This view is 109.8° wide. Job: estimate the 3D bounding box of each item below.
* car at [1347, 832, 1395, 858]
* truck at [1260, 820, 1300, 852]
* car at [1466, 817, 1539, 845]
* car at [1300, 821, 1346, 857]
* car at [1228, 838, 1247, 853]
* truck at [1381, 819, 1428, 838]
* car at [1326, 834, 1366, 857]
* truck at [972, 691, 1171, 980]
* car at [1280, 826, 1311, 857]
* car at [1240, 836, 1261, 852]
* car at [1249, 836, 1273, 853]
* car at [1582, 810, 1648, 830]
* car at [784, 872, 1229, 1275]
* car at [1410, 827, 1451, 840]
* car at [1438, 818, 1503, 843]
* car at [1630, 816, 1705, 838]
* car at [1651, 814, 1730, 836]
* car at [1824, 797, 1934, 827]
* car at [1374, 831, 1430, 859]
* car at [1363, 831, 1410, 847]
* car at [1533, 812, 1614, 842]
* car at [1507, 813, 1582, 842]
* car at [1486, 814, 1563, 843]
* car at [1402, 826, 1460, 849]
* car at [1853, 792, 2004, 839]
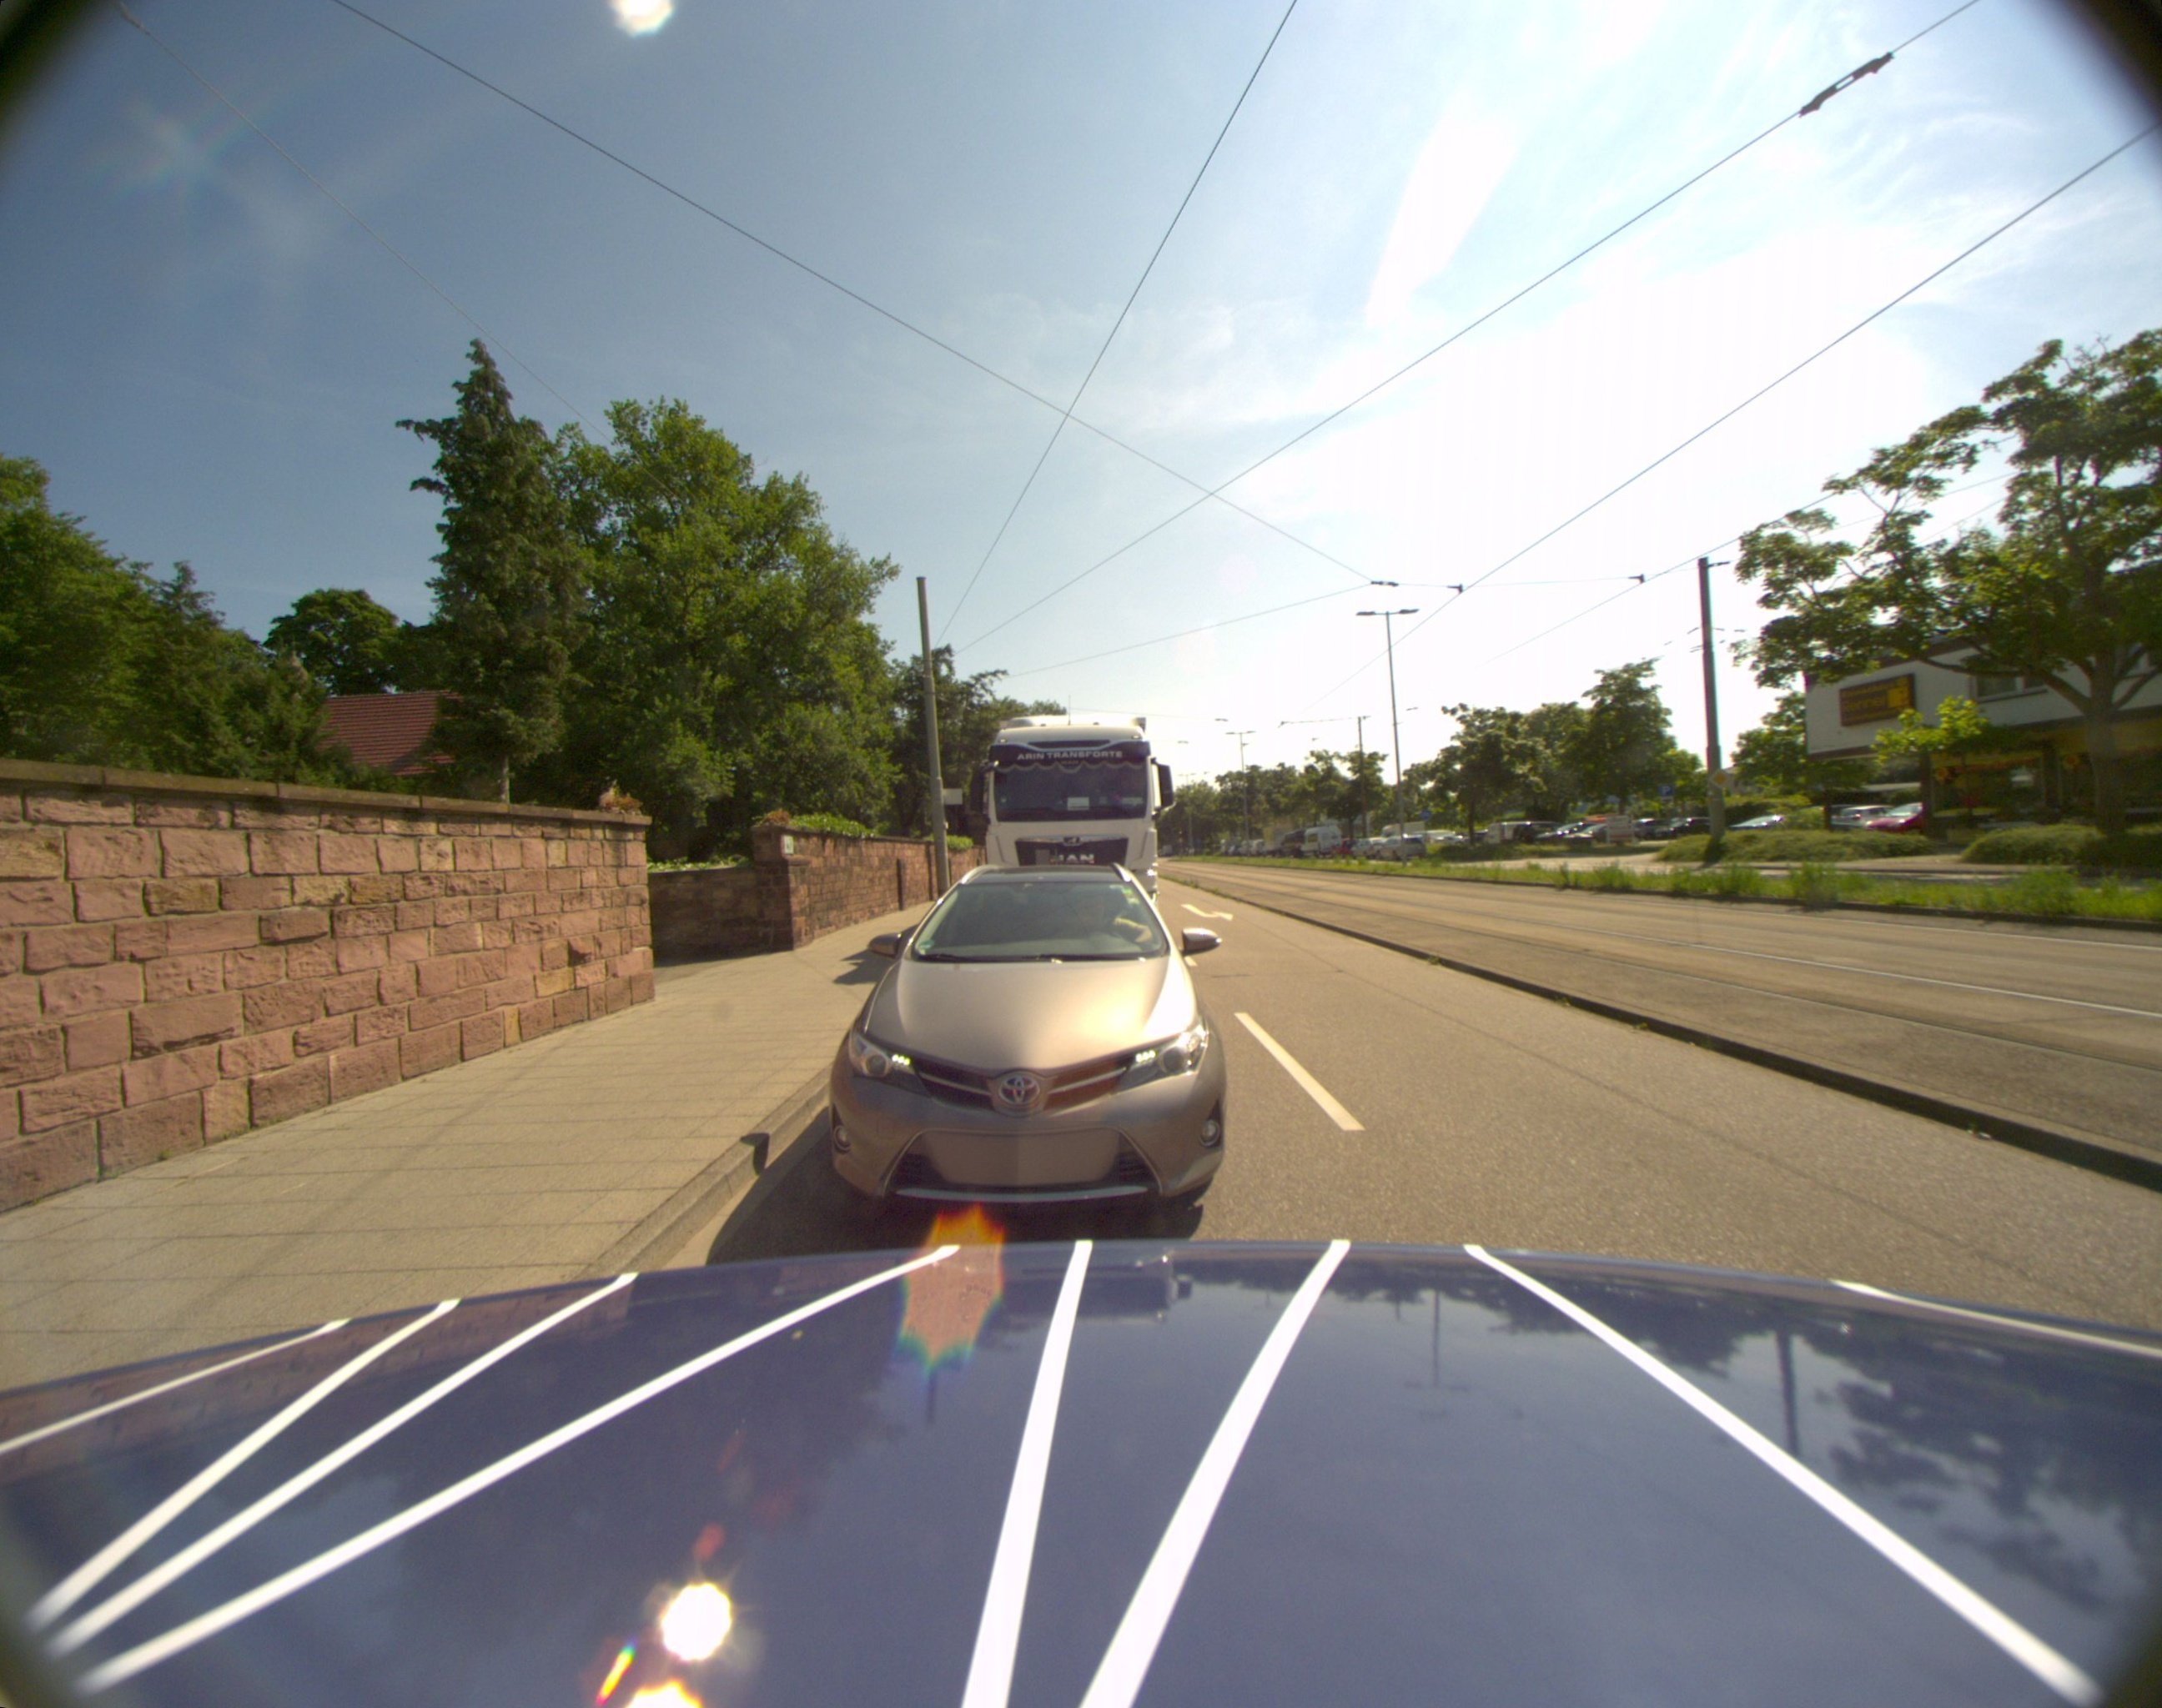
[{"bbox_3d":[20.442,-0.621,53.658,1.675,1.524,4.256,-6,0,1],"label":"car"},{"bbox_3d":[20.577,-1.791,78.805,2.508,2.917,5.903,-6,0,2],"label":"truck"},{"bbox_3d":[30.530,-1.678,55.140,4.117,1.728,1.990,-3,1,-2],"label":"car"},{"bbox_3d":[20.278,-1.218,63.990,2.062,2.638,5.203,-6,0,1],"label":"car"},{"bbox_3d":[20.616,-1.074,100.073,1.502,1.775,3.687,-6,0,0],"label":"car"},{"bbox_3d":[44.747,-3.521,105.152,5.652,2.367,1.990,-3,1,-2],"label":"truck"},{"bbox_3d":[20.473,-0.643,58.756,1.675,1.524,3.793,-6,0,1],"label":"car"},{"bbox_3d":[-0.039,-0.300,15.100,2.628,3.906,9.285,-2,1,1],"label":"truck"},{"bbox_3d":[19.865,-1.136,70.461,1.502,2.609,4.007,-6,0,1],"label":"car"},{"bbox_3d":[20.952,-1.214,94.219,1.502,1.835,4.059,-6,0,0],"label":"car"},{"bbox_3d":[20.690,-1.042,87.351,1.502,1.793,4.633,-6,0,1],"label":"car"},{"bbox_3d":[43.892,-2.800,62.515,4.254,1.327,1.676,-3,0,-1],"label":"car"},{"bbox_3d":[-0.263,0.890,4.901,1.654,1.374,4.000,-2,0,0],"label":"car"},{"bbox_3d":[43.730,-2.610,95.111,4.253,1.327,1.676,-3,0,1],"label":"car"},{"bbox_3d":[31.228,-1.841,60.978,4.117,1.728,1.990,-3,1,-2],"label":"car"},{"bbox_3d":[44.242,-2.026,57.378,4.252,1.327,1.676,-3,0,2],"label":"car"},{"bbox_3d":[44.039,-2.097,54.957,4.252,1.327,1.676,-3,0,2],"label":"car"},{"bbox_3d":[44.317,-2.307,42.256,4.252,1.327,1.676,-3,0,2],"label":"car"},{"bbox_3d":[20.285,-0.531,48.170,1.675,1.524,4.256,-6,0,1],"label":"car"},{"bbox_3d":[32.311,-1.583,80.398,4.253,1.327,1.676,-3,0,1],"label":"car"},{"bbox_3d":[30.507,-1.657,47.115,3.810,1.625,1.676,-3,1,2],"label":"car"},{"bbox_3d":[30.577,-1.712,50.202,3.810,1.625,1.676,-3,1,2],"label":"car"},{"bbox_3d":[30.690,-1.766,52.669,4.117,1.728,1.990,-3,1,-2],"label":"car"},{"bbox_3d":[31.164,-1.393,67.881,2.594,1.800,5.741,-3,0,2],"label":"car"},{"bbox_3d":[35.259,-1.581,31.683,4.252,1.595,1.676,-3,1,2],"label":"car"}]
